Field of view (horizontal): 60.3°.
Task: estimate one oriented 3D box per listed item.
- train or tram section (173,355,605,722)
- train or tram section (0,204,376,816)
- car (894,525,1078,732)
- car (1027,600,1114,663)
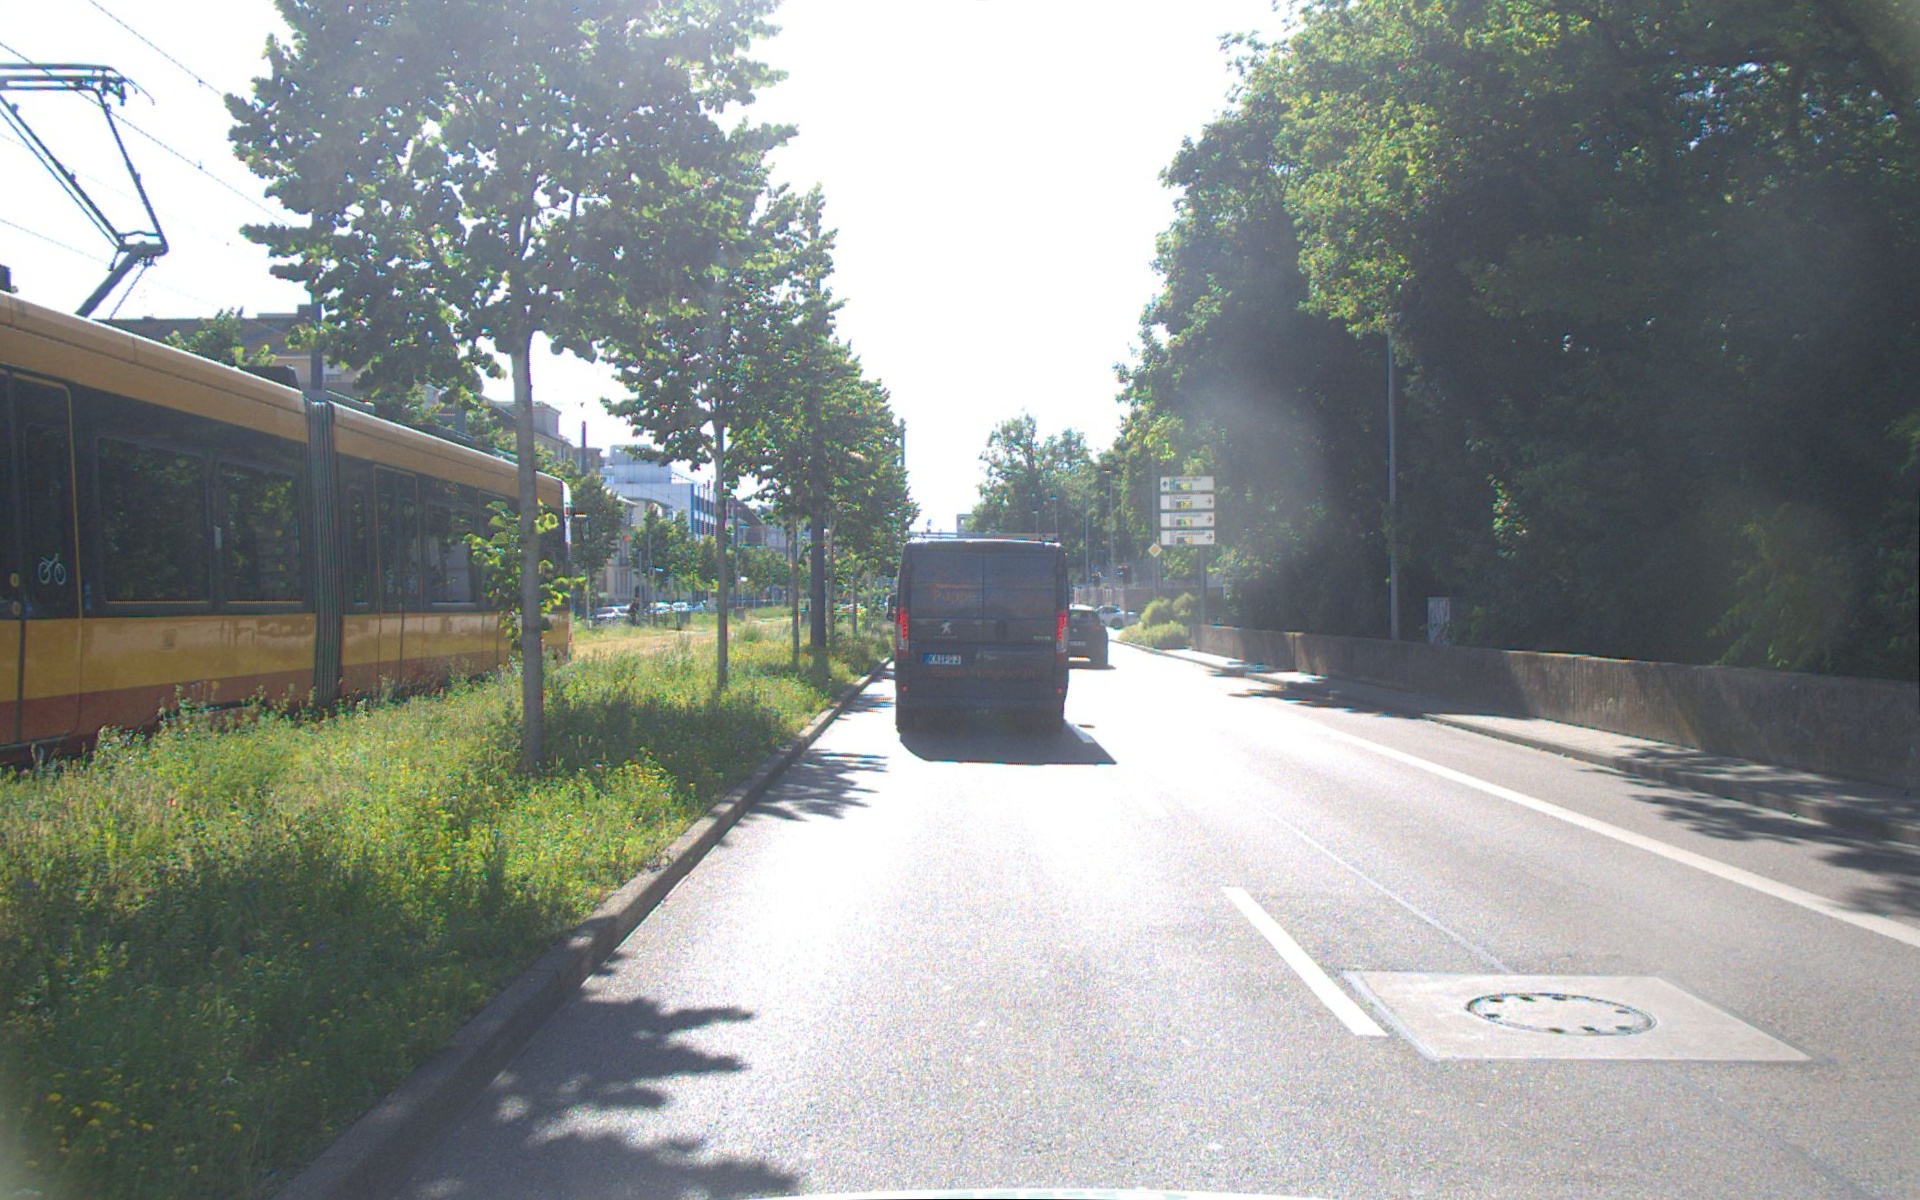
[{"bbox_3d":[-7.081,-0.615,22.726,1.953,3.733,11.681,0,0,-1],"label":"train or tram section"},{"bbox_3d":[-6.863,-0.550,11.248,1.953,3.733,11.313,0,0,-1],"label":"train or tram section"},{"bbox_3d":[0.248,0.318,20.377,2.040,2.288,3.999,0,0,-1],"label":"car"},{"bbox_3d":[2.707,0.750,41.316,1.728,1.488,3.998,0,0,-3],"label":"car"}]
